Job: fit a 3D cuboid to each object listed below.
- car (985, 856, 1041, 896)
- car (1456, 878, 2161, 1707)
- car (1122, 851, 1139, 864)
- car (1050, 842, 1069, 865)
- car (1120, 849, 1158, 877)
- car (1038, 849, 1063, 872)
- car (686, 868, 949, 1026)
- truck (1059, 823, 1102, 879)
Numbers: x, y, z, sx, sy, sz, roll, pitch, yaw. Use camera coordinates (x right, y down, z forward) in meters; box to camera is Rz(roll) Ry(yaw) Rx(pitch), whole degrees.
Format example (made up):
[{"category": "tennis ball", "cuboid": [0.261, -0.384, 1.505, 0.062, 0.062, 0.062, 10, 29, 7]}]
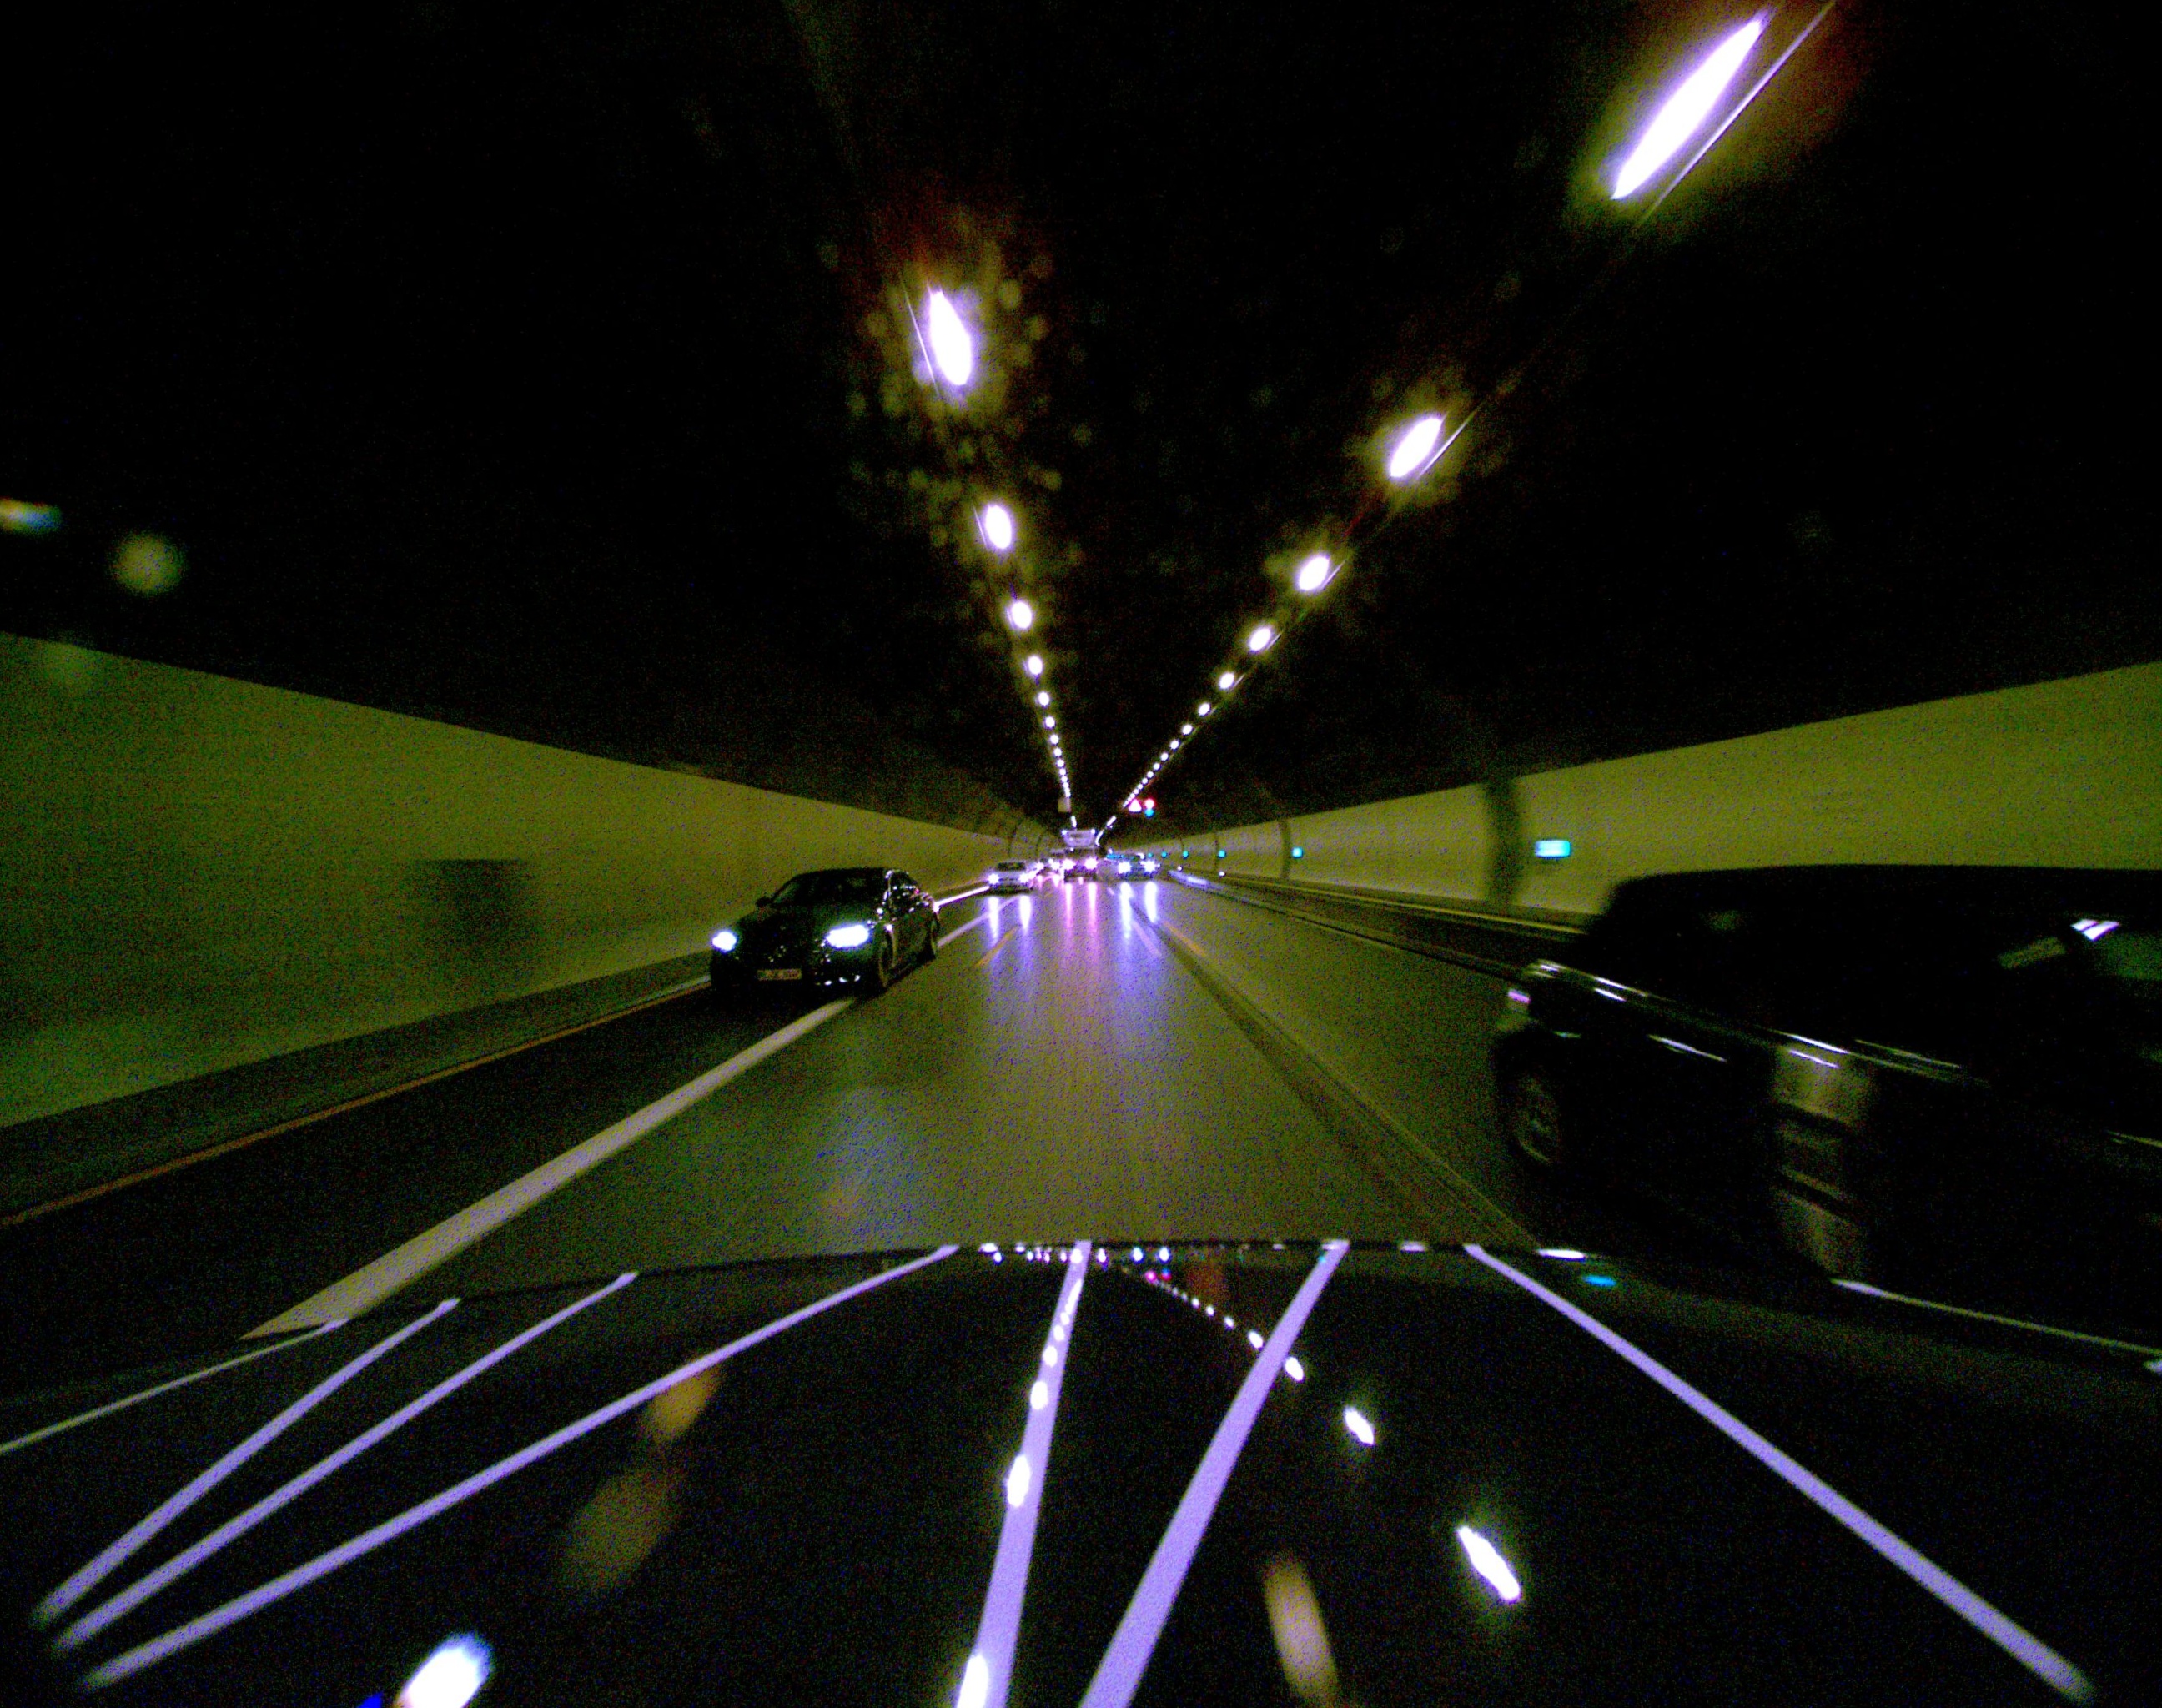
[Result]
[{"category": "car", "cuboid": [-2.995, 0.916, 34.381, 1.998, 1.531, 4.742, -2, 1, 1]}, {"category": "car", "cuboid": [2.826, 0.874, 2.050, 1.693, 1.409, 3.923, -2, 0, 1]}, {"category": "car", "cuboid": [6.116, 0.403, 94.502, 1.998, 1.531, 4.852, -2, 1, 4]}, {"category": "car", "cuboid": [-2.646, -0.066, 94.267, 1.998, 2.710, 6.273, -2, 1, 1]}, {"category": "car", "cuboid": [3.506, 0.506, 46.887, 1.998, 1.531, 4.742, -2, 1, 1]}, {"category": "car", "cuboid": [-2.745, 0.561, 69.622, 1.999, 2.002, 4.853, -2, 0, -1]}, {"category": "car", "cuboid": [-3.127, 1.005, 10.143, 1.825, 1.469, 4.521, -2, 0, 1]}, {"category": "truck", "cuboid": [0.004, -0.194, 49.828, 2.533, 3.314, 7.715, -2, 0, 1]}]
